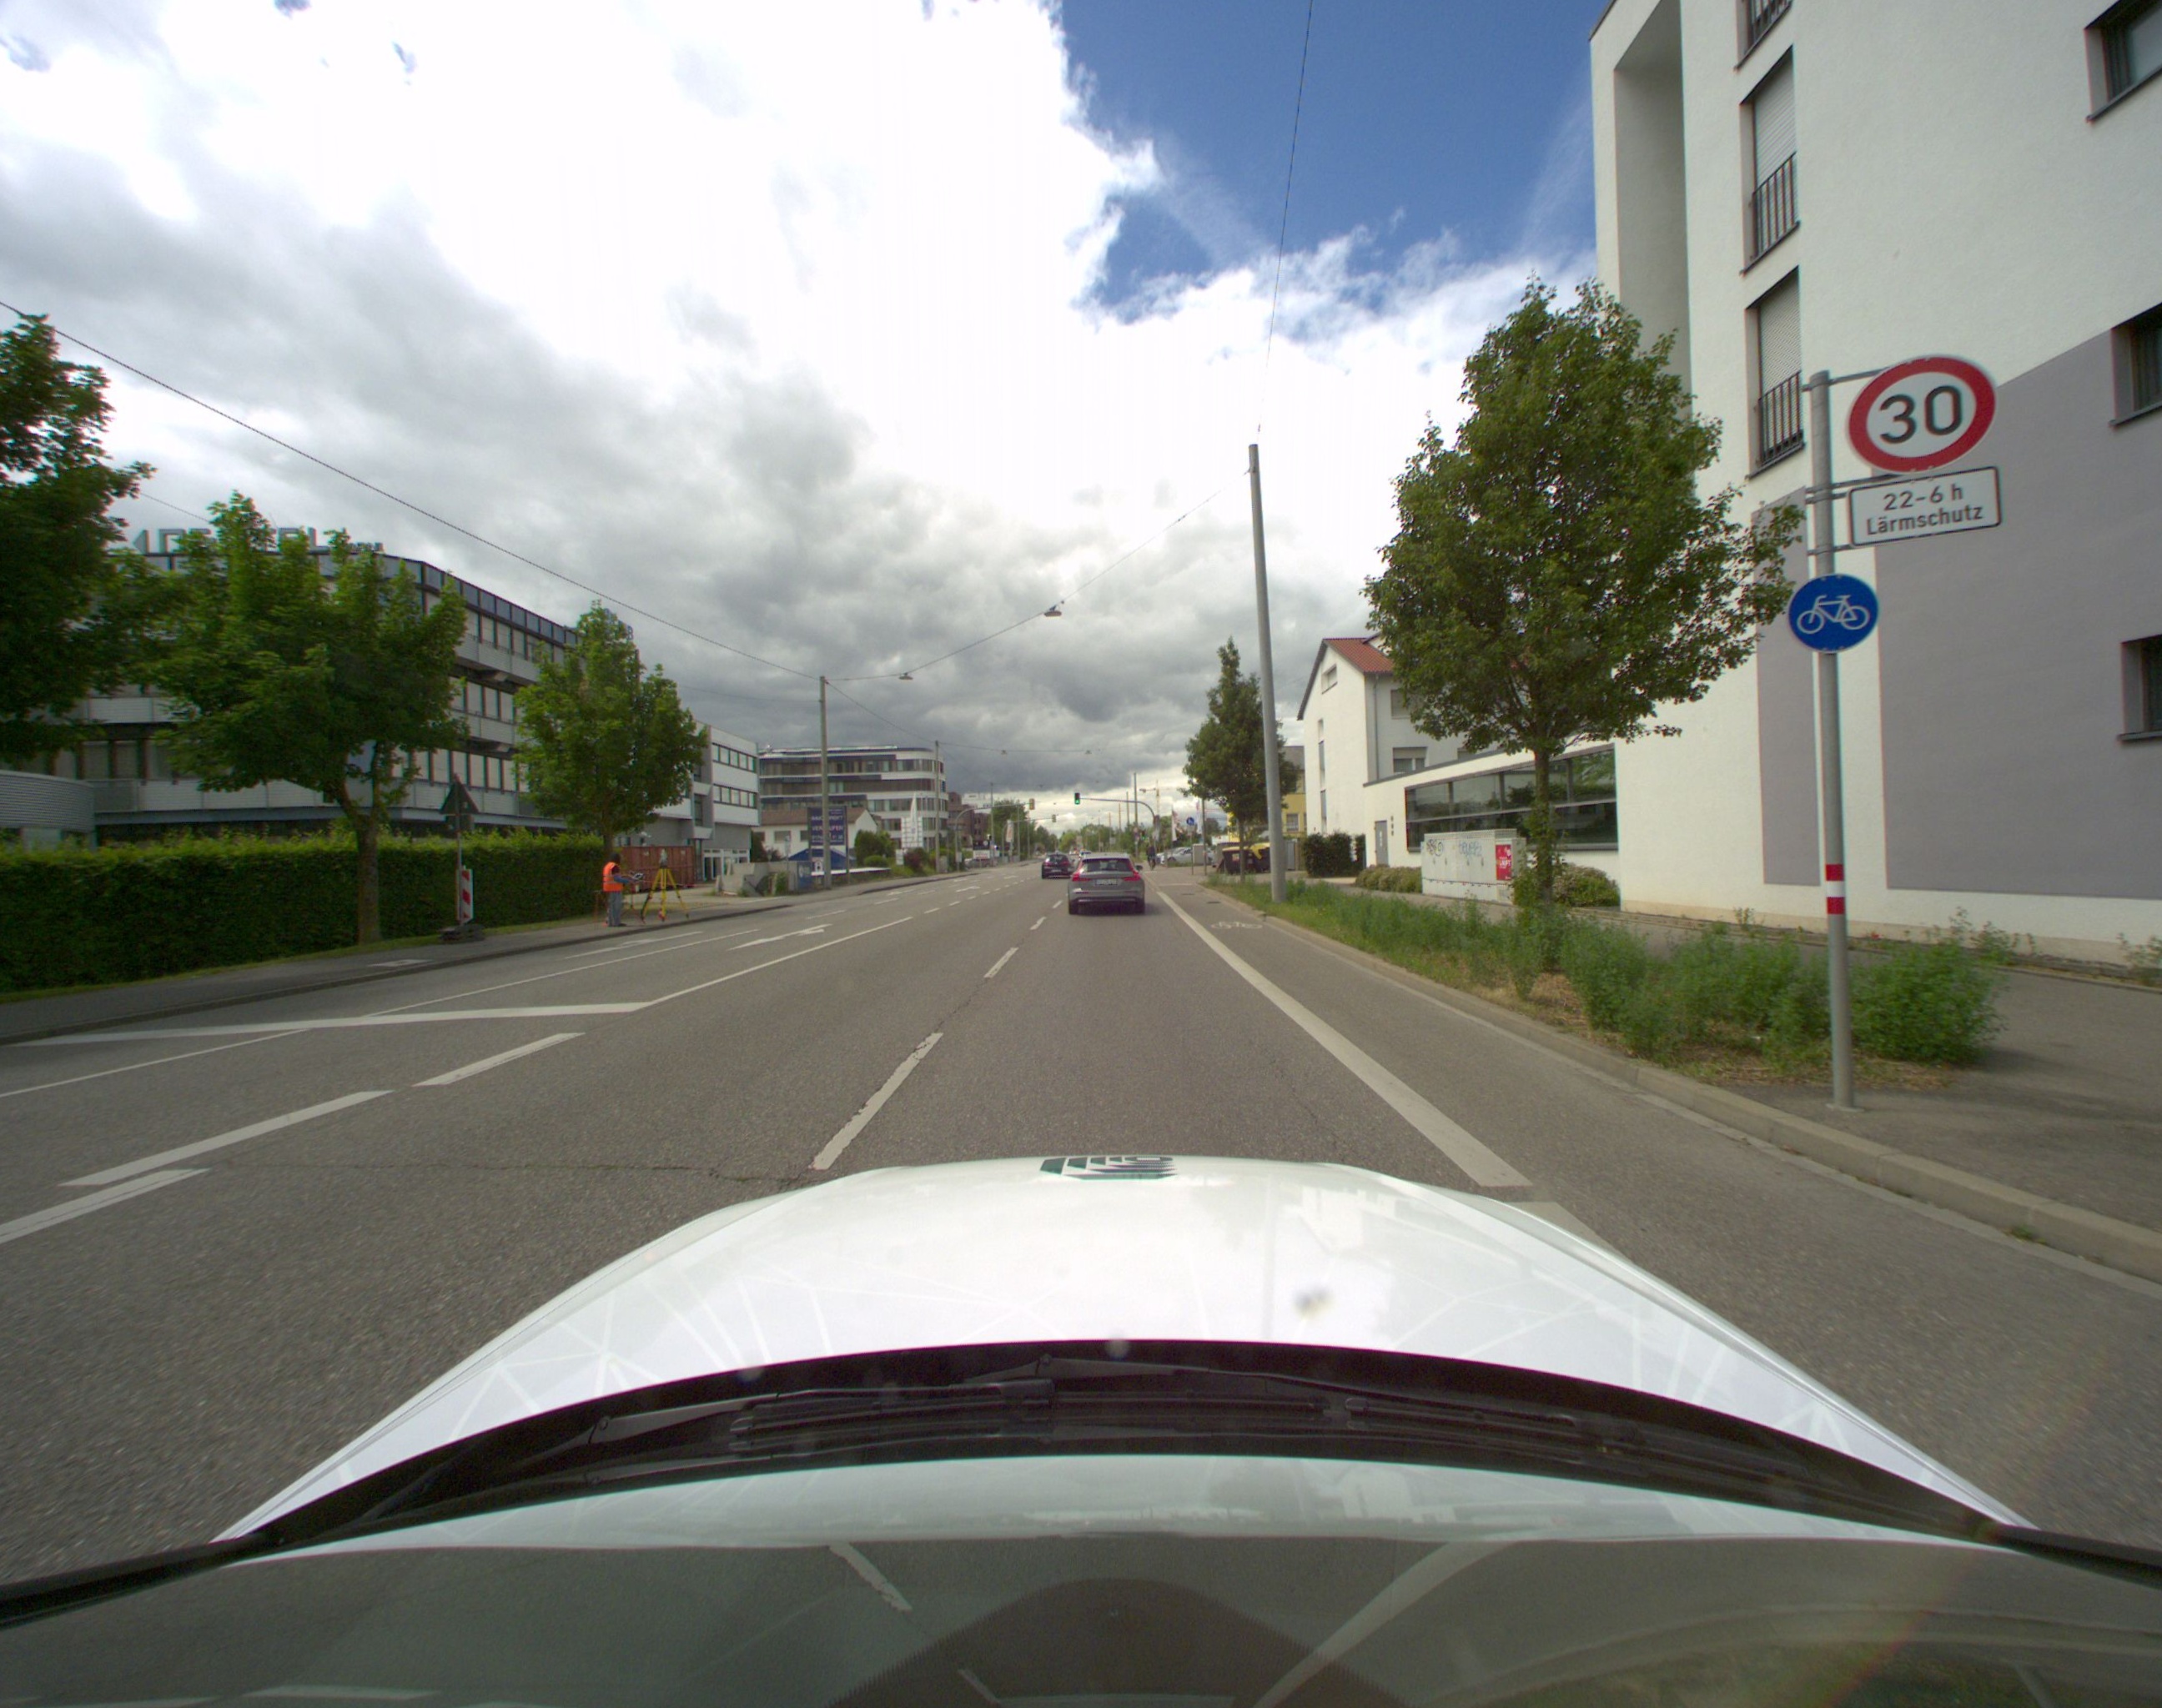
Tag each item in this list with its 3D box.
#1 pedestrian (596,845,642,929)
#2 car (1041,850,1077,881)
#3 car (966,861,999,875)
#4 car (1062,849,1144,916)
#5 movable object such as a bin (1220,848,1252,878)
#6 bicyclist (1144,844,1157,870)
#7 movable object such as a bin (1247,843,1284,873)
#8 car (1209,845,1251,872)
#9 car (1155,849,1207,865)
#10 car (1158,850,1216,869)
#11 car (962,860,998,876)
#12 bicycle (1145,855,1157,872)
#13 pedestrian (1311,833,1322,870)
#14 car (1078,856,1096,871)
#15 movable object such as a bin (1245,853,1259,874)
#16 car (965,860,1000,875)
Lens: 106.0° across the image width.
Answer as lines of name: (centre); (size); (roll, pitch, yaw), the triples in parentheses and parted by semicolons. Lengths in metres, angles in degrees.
pedestrian: (-11.433, 0.798, 20.157); (0.717, 2.014, 0.815); (-1, -2, 44)
car: (-1.227, 0.688, 46.778); (1.987, 1.717, 3.998); (0, -1, -1)
car: (-12.966, 1.860, 107.715); (3.976, 1.369, 1.847); (-8, -1, -1)
car: (0.615, 0.694, 20.860); (1.888, 1.554, 4.003); (0, -1, 3)
movable object such as a bin: (7.554, 0.443, 39.690); (1.308, 1.361, 1.257); (-2, -2, 17)
bicyclist: (4.579, 0.186, 53.716); (0.635, 1.675, 0.890); (-5, -1, 2)
movable object such as a bin: (9.024, 0.198, 39.900); (1.306, 1.435, 1.259); (-3, -2, 38)
car: (9.368, 0.271, 51.506); (1.869, 1.545, 4.521); (-2, 0, 0)
car: (9.433, 0.304, 77.269); (4.781, 1.480, 2.033); (0, 0, 2)
car: (8.930, 0.423, 68.733); (4.680, 1.493, 2.046); (-1, 0, 0)
car: (-12.369, 1.704, 99.993); (4.088, 1.397, 1.904); (-8, 1, -6)
bicycle: (4.617, 0.636, 53.708); (0.635, 1.063, 1.978); (-5, 0, 2)
pedestrian: (11.185, -0.126, 38.694); (0.503, 1.765, 0.503); (0, -1, 18)
car: (0.681, 1.068, 93.351); (1.986, 1.695, 4.000); (0, -1, 1)
movable object such as a bin: (8.526, 0.496, 40.629); (0.561, 1.026, 0.408); (-3, -2, 38)
car: (-12.682, 1.748, 105.167); (4.217, 1.387, 1.981); (-8, -1, -5)
